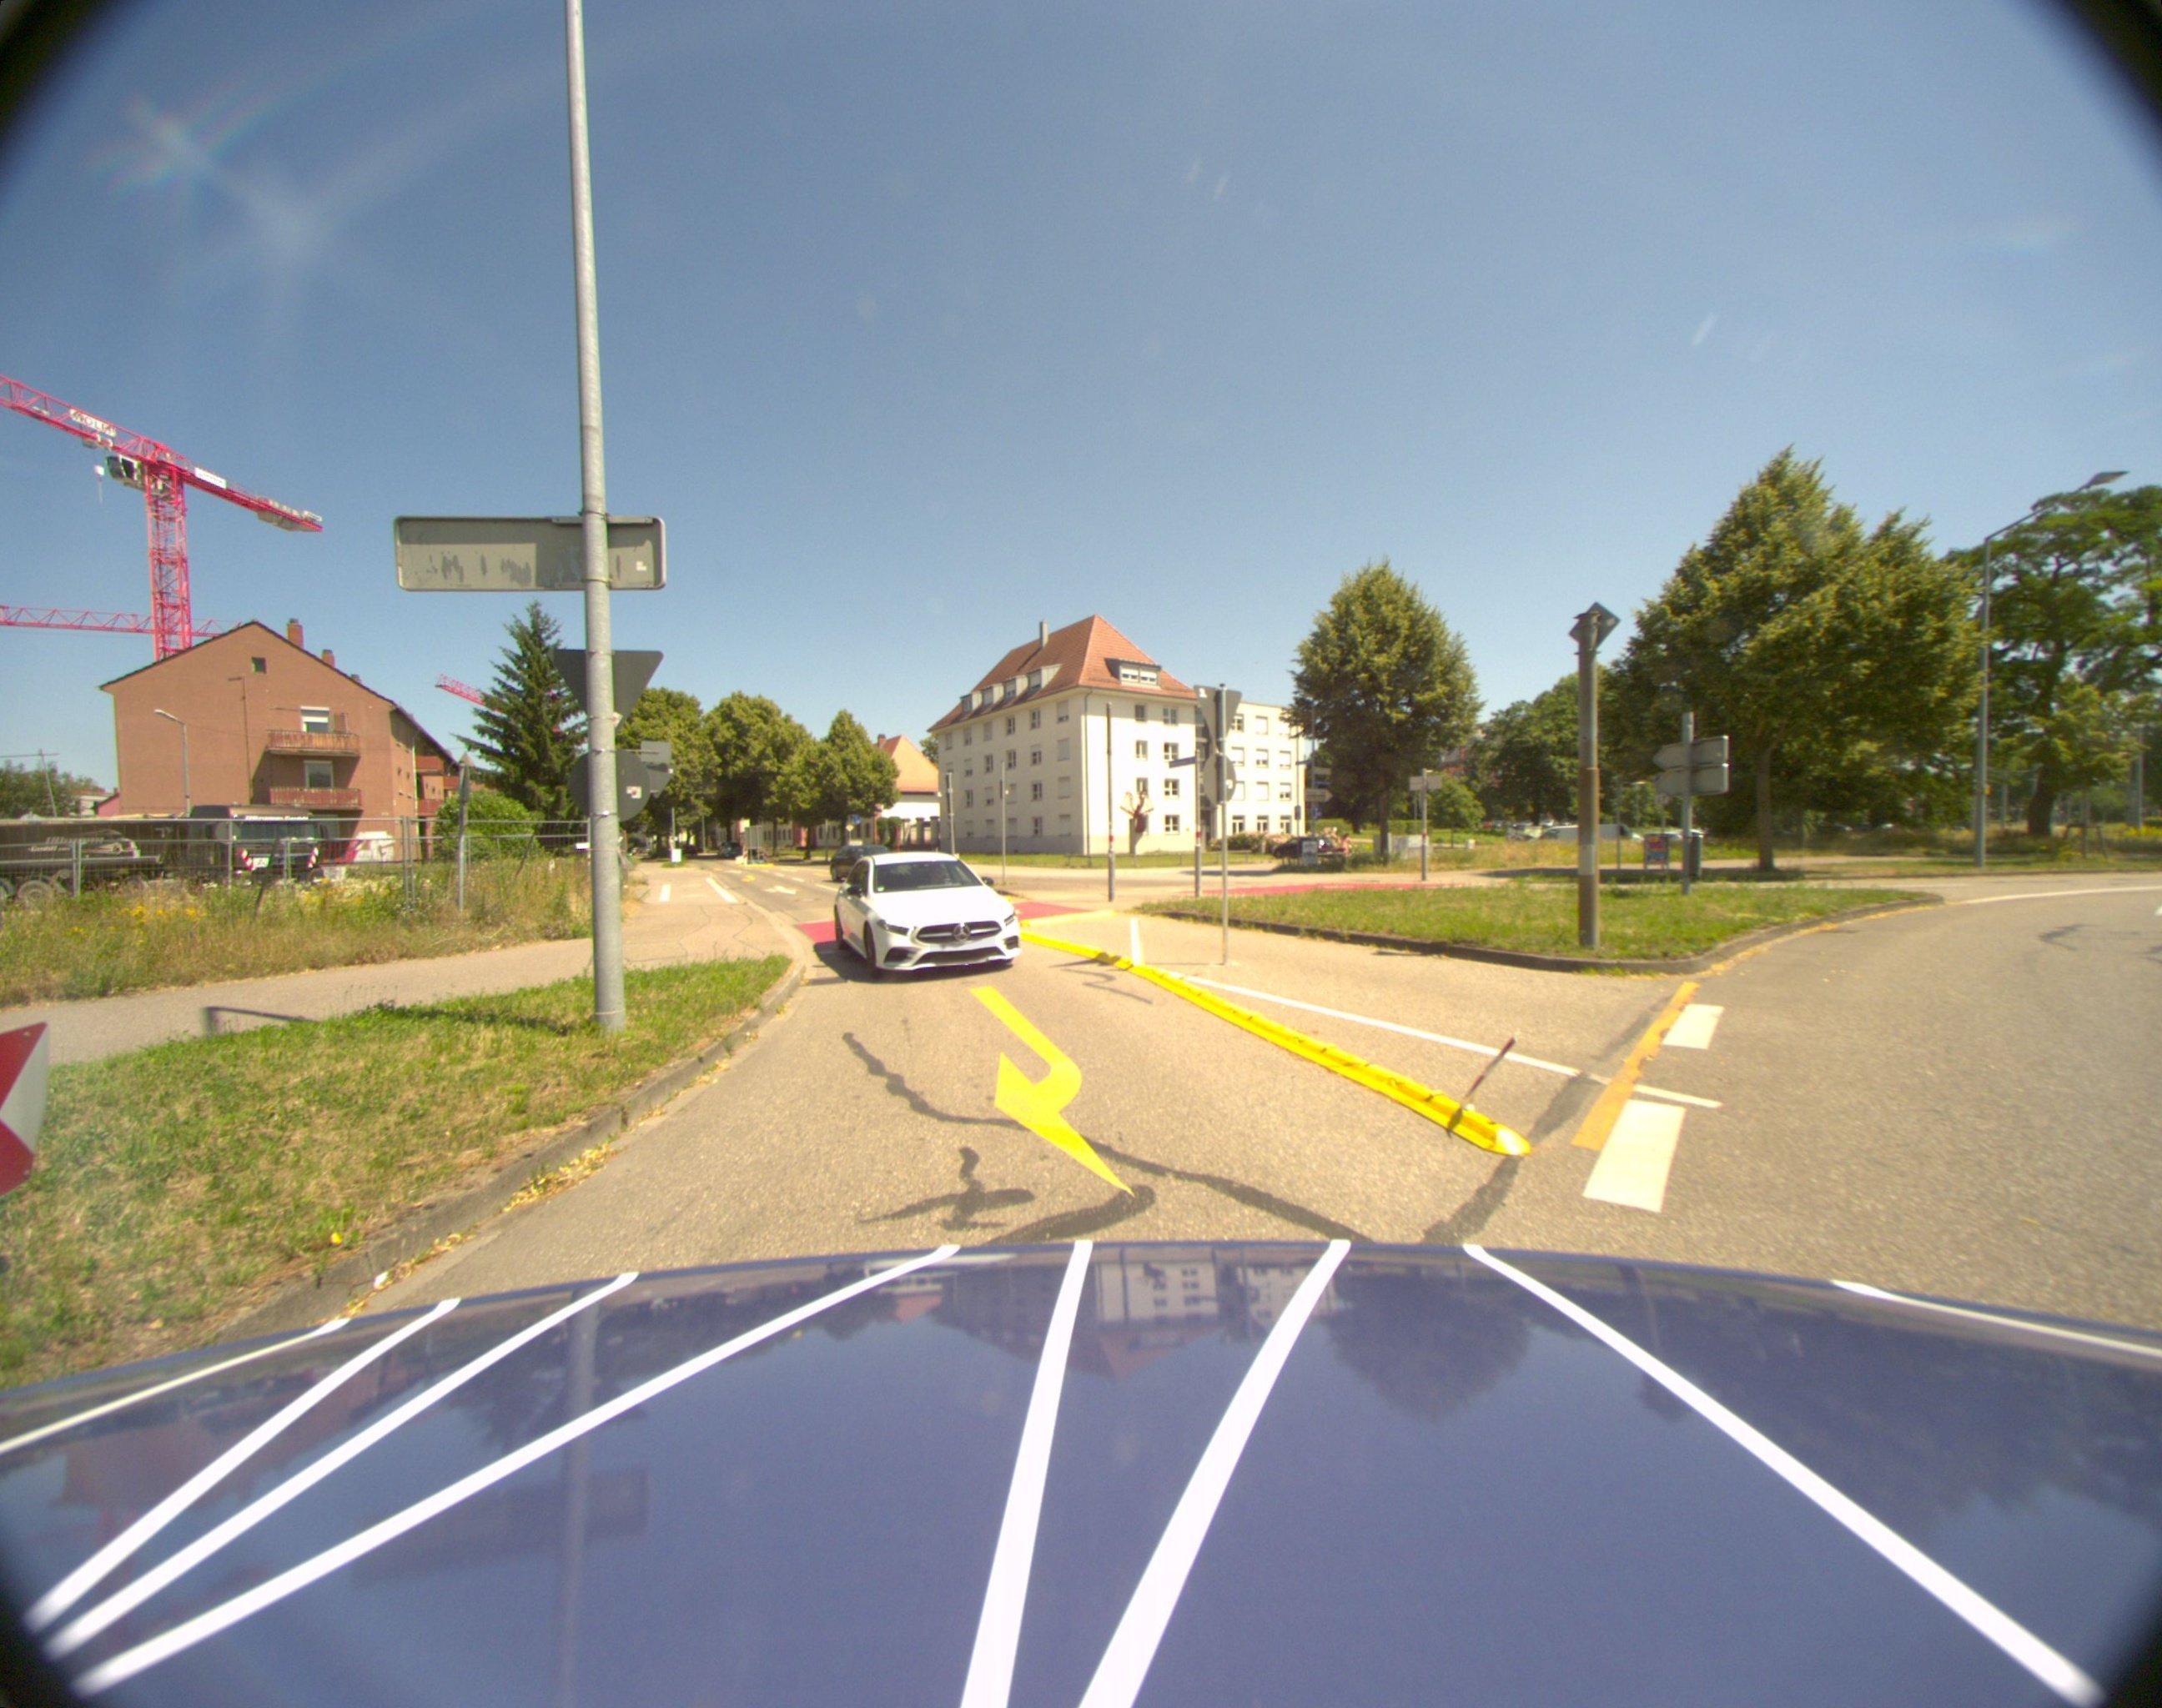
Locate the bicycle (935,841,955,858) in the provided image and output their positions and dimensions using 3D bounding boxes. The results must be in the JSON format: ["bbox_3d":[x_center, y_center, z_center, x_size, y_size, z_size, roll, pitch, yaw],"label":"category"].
[{"bbox_3d":[-9.075,-0.328,50.670,0.710,1.019,1.980,-6,4,-28],"label":"bicycle"}]

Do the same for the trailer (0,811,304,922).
[{"bbox_3d":[-34.132,0.403,26.856,8.993,3.513,3.161,-2,2,-10],"label":"trailer"}]

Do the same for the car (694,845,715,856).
[{"bbox_3d":[-49.222,-0.430,99.279,1.646,1.374,3.879,-3,2,-37],"label":"car"}]

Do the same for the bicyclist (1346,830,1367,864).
[{"bbox_3d":[13.837,-0.357,38.175,0.710,1.655,0.645,-2,2,-14],"label":"bicyclist"}]

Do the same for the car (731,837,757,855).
[{"bbox_3d":[-35.050,-0.864,79.014,1.692,1.760,4.193,-3,3,-35],"label":"car"}]

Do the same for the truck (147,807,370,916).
[{"bbox_3d":[-28.759,0.243,26.698,4.955,3.513,3.167,-1,2,14],"label":"truck"}]

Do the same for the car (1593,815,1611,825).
[{"bbox_3d":[80.401,-5.219,117.226,3.033,1.408,1.475,-3,2,-38],"label":"car"}]

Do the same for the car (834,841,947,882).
[{"bbox_3d":[-7.481,0.282,29.653,4.605,1.443,1.805,-1,2,39],"label":"car"}]

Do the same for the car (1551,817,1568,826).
[{"bbox_3d":[76.947,-5.271,122.201,3.033,1.408,1.475,-3,2,-38],"label":"car"}]

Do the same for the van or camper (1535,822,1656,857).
[{"bbox_3d":[28.827,-0.797,42.720,2.003,1.847,5.258,-3,2,-34],"label":"van or camper"}]

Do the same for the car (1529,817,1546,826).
[{"bbox_3d":[74.550,-5.242,124.038,3.033,1.408,1.475,-3,2,-38],"label":"car"}]

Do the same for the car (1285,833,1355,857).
[{"bbox_3d":[14.477,-0.549,46.165,1.662,1.319,3.798,-3,2,-33],"label":"car"}]

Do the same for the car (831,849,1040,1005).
[{"bbox_3d":[-2.125,0.749,10.102,1.783,1.537,3.954,-3,2,-24],"label":"car"}]

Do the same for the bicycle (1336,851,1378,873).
[{"bbox_3d":[13.924,0.381,38.302,2.089,1.052,0.439,-2,2,-13],"label":"bicycle"}]

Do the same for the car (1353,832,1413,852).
[{"bbox_3d":[19.600,-0.755,49.391,1.359,1.210,3.504,-3,2,-33],"label":"car"}]

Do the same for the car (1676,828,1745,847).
[{"bbox_3d":[43.102,-1.117,52.058,1.358,1.274,3.375,-2,2,-26],"label":"car"}]
